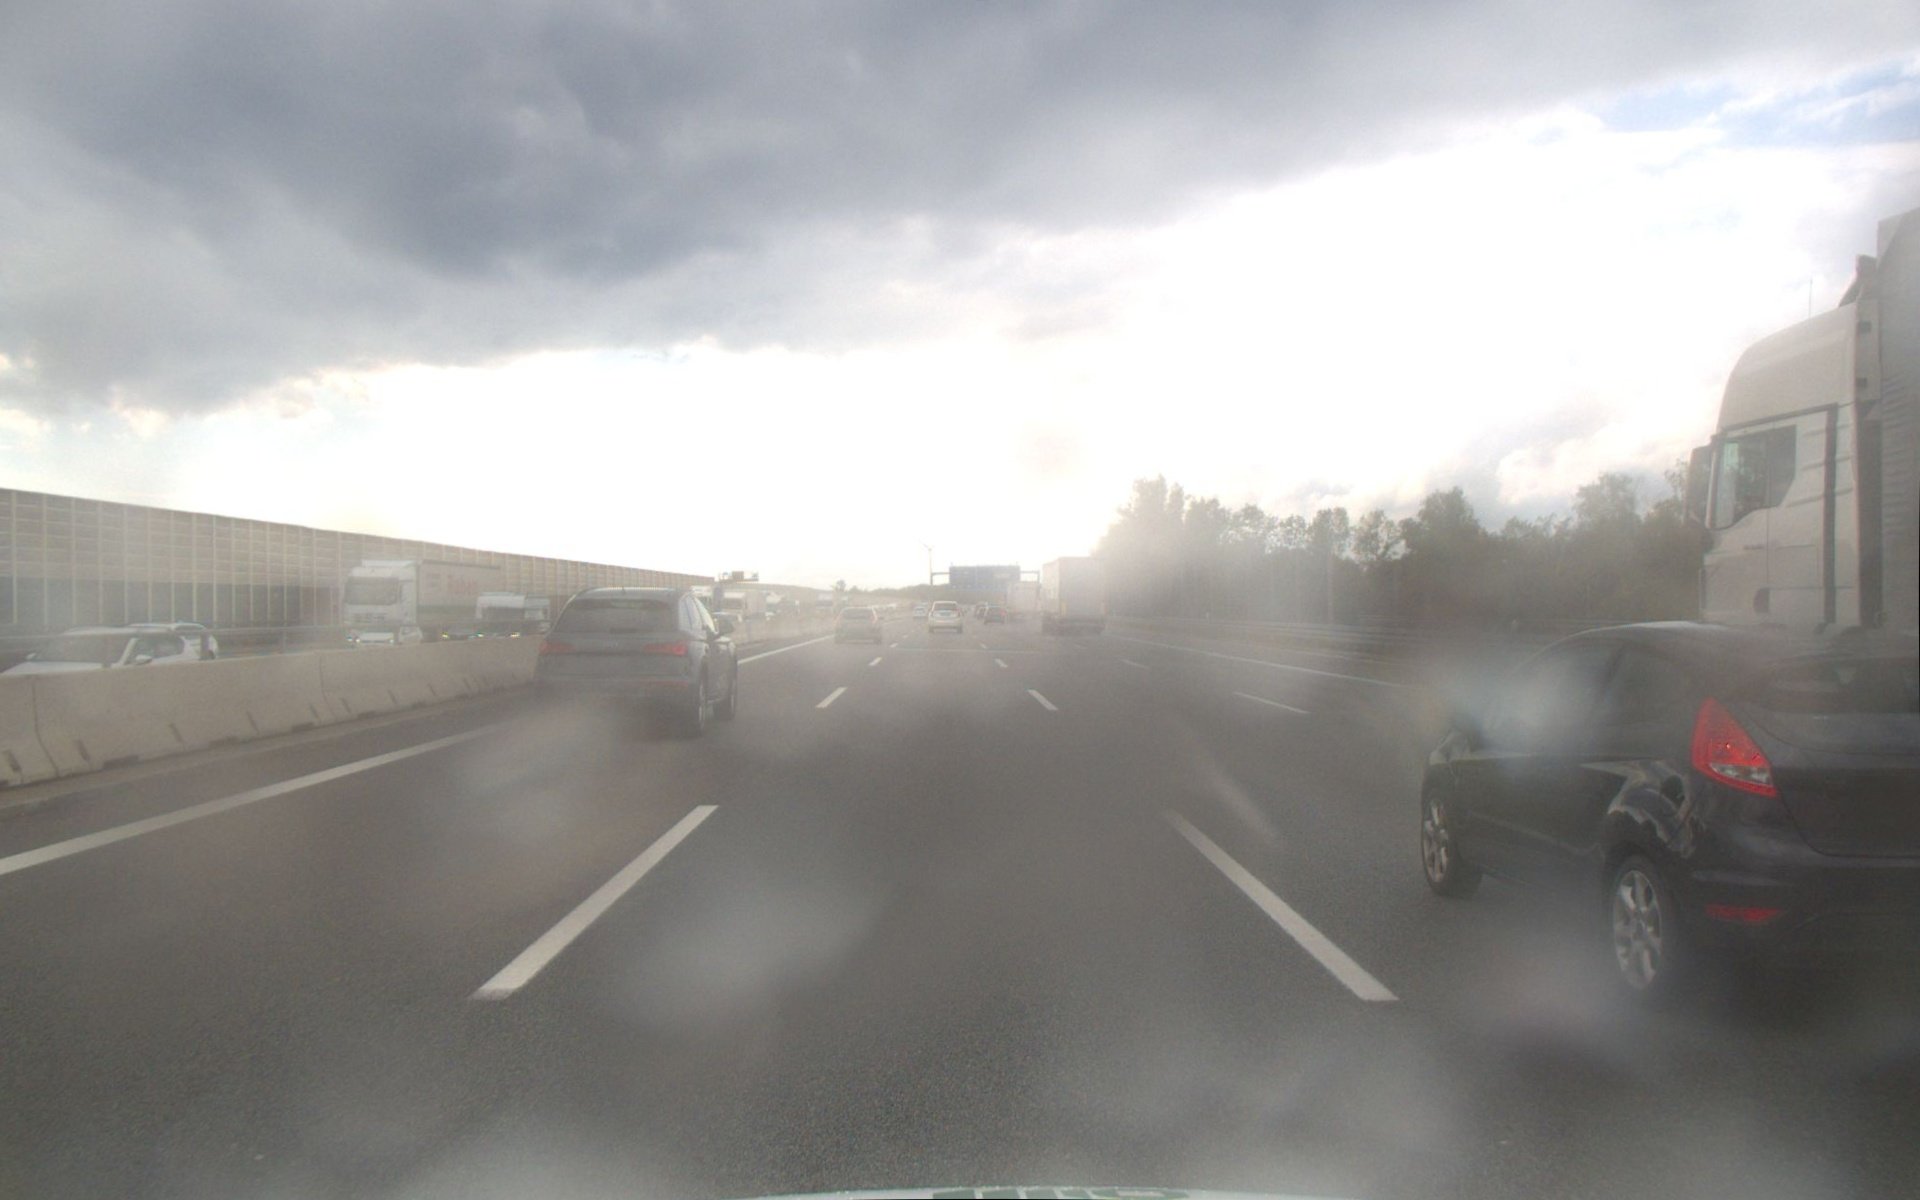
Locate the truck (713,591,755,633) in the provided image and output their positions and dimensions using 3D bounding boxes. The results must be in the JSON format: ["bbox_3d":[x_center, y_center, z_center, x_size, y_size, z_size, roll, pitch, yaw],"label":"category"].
[{"bbox_3d":[-22.148,1.160,162.515,3.016,4.004,8.052,1,0,-1],"label":"truck"}]

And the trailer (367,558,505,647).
[{"bbox_3d":[-25.822,0.102,82.402,2.510,4.003,13.814,1,0,0],"label":"trailer"}]

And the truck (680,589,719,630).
[{"bbox_3d":[-27.099,0.944,172.341,2.655,4.146,8.913,1,0,-1],"label":"truck"}]

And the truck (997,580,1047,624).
[{"bbox_3d":[6.187,0.160,166.894,4.158,4.249,11.985,1,0,-2],"label":"truck"}]

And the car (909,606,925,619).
[{"bbox_3d":[-5.094,1.501,195.331,1.737,1.466,3.871,1,0,-3],"label":"car"}]

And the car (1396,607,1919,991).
[{"bbox_3d":[3.275,0.780,8.016,1.418,1.466,3.163,0,0,-2],"label":"car"}]

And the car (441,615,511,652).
[{"bbox_3d":[-21.848,1.476,74.849,1.712,1.552,5.139,0,0,-1],"label":"car"}]

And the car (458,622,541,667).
[{"bbox_3d":[-18.531,1.763,66.780,2.036,1.688,4.801,0,0,-1],"label":"car"}]

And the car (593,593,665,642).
[{"bbox_3d":[-14.940,0.761,74.997,2.115,2.107,6.013,0,0,-1],"label":"car"}]

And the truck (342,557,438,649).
[{"bbox_3d":[-25.772,0.119,74.997,2.524,4.004,5.176,1,0,-1],"label":"truck"}]

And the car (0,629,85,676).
[{"bbox_3d":[-25.714,1.404,44.648,1.844,1.133,4.493,0,0,-1],"label":"car"}]

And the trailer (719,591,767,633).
[{"bbox_3d":[-22.181,1.143,169.696,3.016,4.003,14.980,1,0,0],"label":"trailer"}]

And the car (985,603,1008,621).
[{"bbox_3d":[3.099,0.976,141.048,1.799,1.466,4.054,1,0,-2],"label":"car"}]

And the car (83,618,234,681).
[{"bbox_3d":[-21.983,1.319,45.613,1.844,1.552,4.820,0,0,-1],"label":"car"}]

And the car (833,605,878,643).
[{"bbox_3d":[-4.209,0.952,66.451,1.726,1.393,5.056,1,0,-4],"label":"car"}]

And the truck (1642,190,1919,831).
[{"bbox_3d":[7.544,-0.567,11.294,2.901,4.090,6.587,1,0,-2],"label":"truck"}]

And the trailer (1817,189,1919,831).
[{"bbox_3d":[7.709,-0.519,4.704,2.901,4.090,14.114,1,0,-1],"label":"trailer"}]

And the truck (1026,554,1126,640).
[{"bbox_3d":[6.205,-0.178,91.109,4.096,4.363,12.607,1,0,-2],"label":"truck"}]

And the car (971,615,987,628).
[{"bbox_3d":[2.319,2.572,200.405,1.799,1.466,4.054,1,0,-2],"label":"car"}]

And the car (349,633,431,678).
[{"bbox_3d":[-21.891,2.107,63.673,1.712,1.552,4.177,0,0,-1],"label":"car"}]

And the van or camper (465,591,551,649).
[{"bbox_3d":[-22.022,0.936,81.003,2.296,2.687,7.148,0,0,-1],"label":"van or camper"}]

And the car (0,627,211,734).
[{"bbox_3d":[-14.219,1.268,27.428,1.712,1.552,4.177,0,0,-1],"label":"car"}]

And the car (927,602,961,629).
[{"bbox_3d":[-0.935,0.881,94.109,1.737,1.466,4.052,1,0,-4],"label":"car"}]

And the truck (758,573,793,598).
[{"bbox_3d":[-25.826,-2.005,232.724,3.200,3.410,16.082,1,0,-1],"label":"truck"}]

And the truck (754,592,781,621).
[{"bbox_3d":[-23.109,0.786,199.078,2.274,3.406,8.352,1,0,-1],"label":"truck"}]

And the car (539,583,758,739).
[{"bbox_3d":[-3.736,0.660,20.774,1.870,1.720,5.167,0,0,-1],"label":"car"}]
